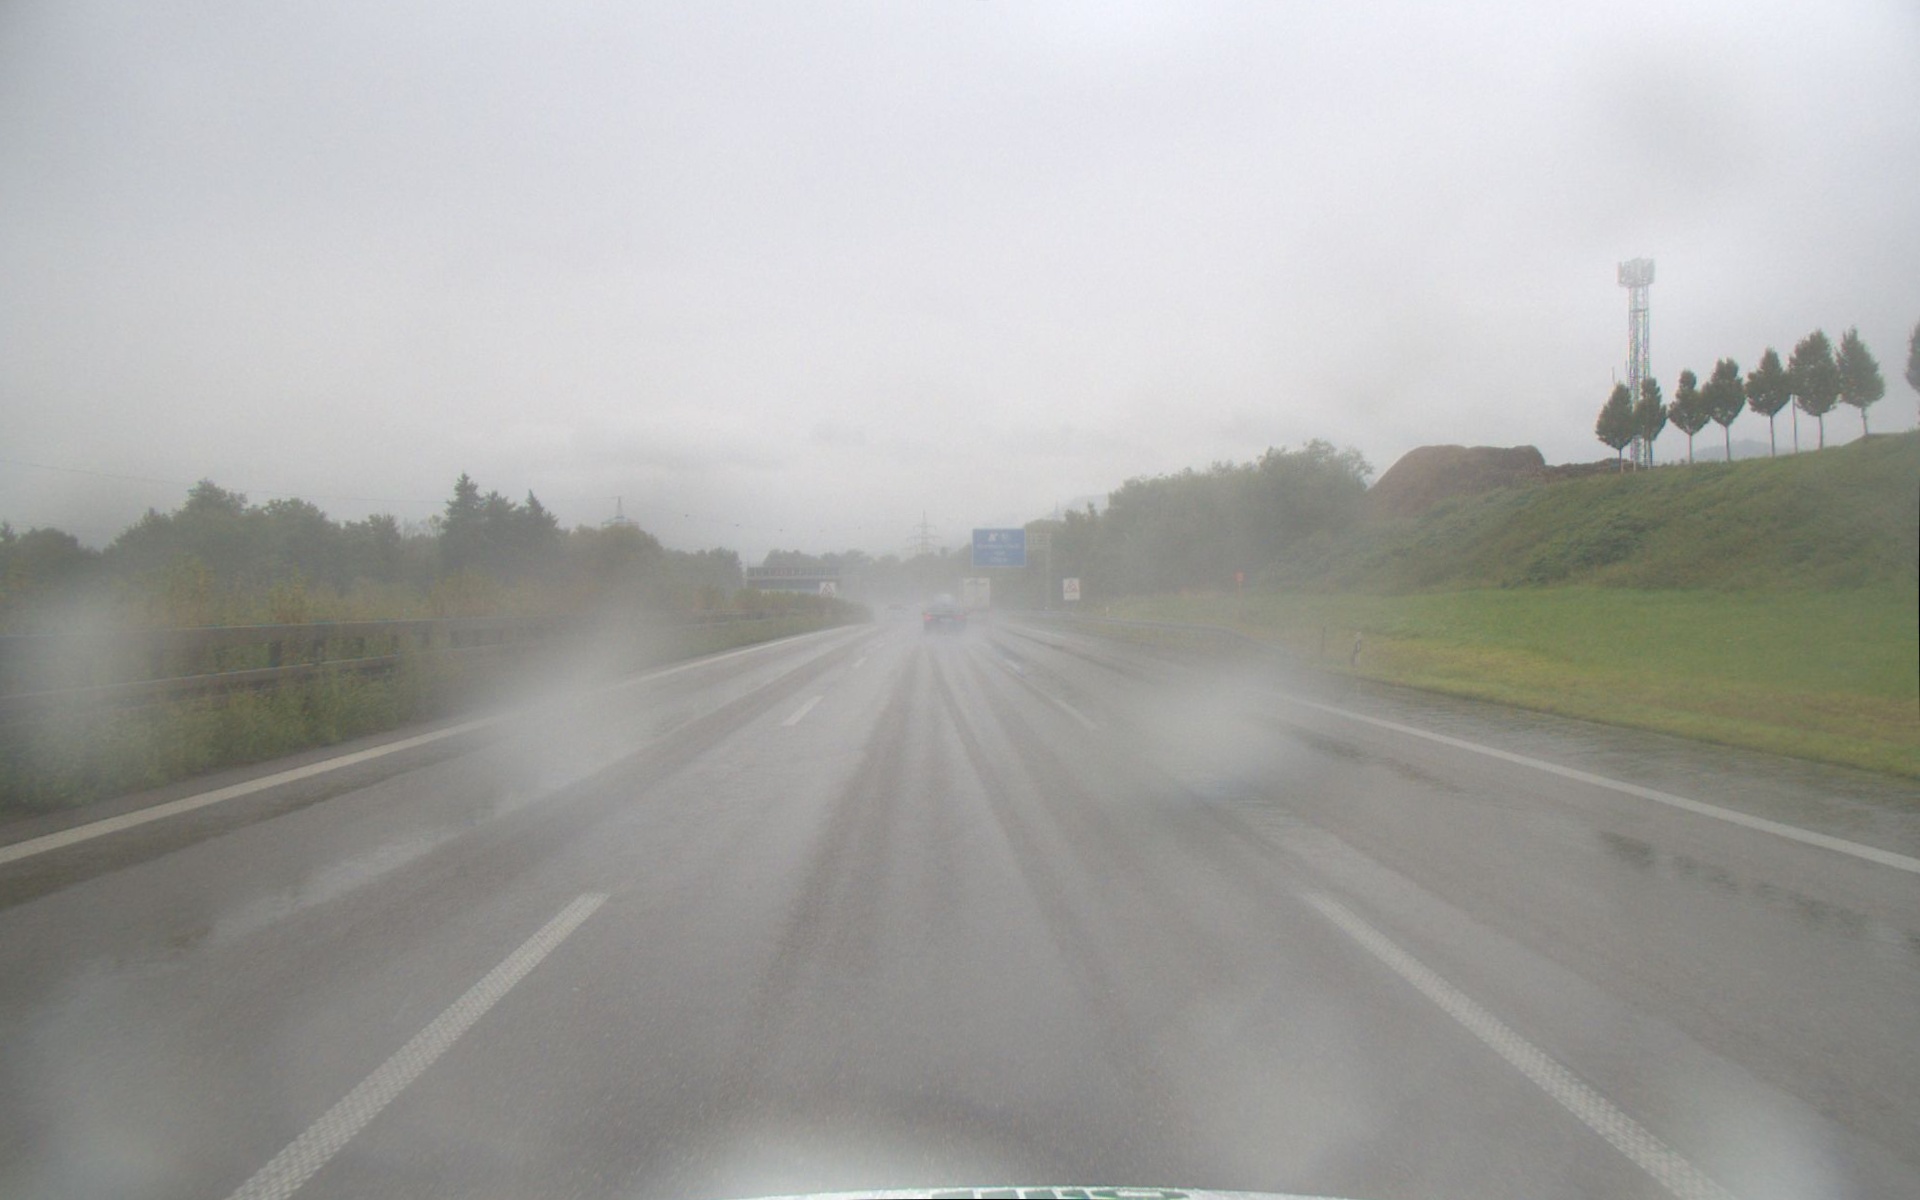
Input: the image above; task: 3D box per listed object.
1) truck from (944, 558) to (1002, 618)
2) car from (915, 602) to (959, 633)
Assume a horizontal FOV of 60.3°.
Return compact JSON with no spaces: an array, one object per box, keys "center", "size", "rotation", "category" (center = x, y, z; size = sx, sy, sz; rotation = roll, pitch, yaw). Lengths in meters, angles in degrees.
[{"center":[1.015,-1.068,152.511],"size":[4.172,5.058,17.331],"rotation":[-3,0,-3],"category":"truck"},{"center":[-0.978,0.695,68.086],"size":[1.713,1.234,3.998],"rotation":[0,0,-2],"category":"car"}]
